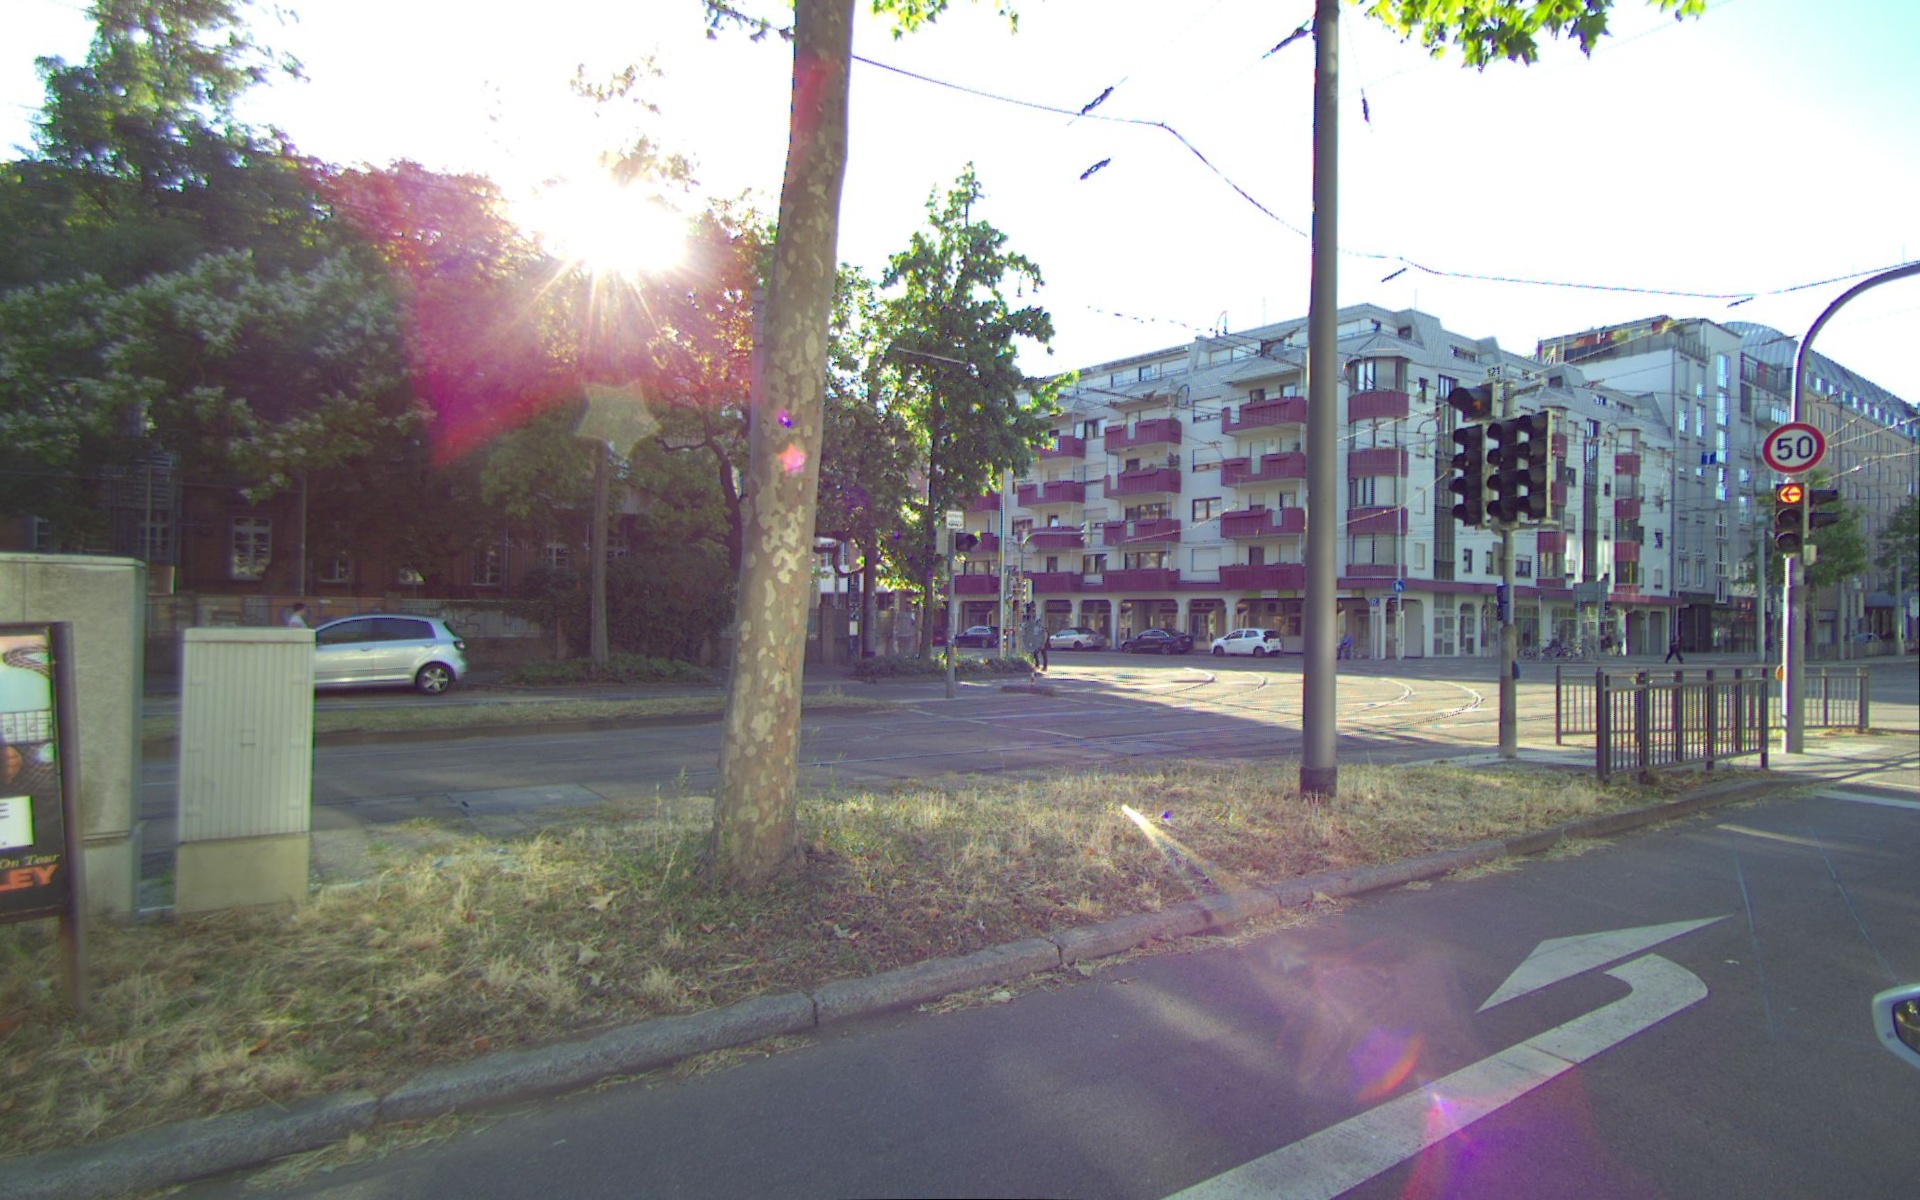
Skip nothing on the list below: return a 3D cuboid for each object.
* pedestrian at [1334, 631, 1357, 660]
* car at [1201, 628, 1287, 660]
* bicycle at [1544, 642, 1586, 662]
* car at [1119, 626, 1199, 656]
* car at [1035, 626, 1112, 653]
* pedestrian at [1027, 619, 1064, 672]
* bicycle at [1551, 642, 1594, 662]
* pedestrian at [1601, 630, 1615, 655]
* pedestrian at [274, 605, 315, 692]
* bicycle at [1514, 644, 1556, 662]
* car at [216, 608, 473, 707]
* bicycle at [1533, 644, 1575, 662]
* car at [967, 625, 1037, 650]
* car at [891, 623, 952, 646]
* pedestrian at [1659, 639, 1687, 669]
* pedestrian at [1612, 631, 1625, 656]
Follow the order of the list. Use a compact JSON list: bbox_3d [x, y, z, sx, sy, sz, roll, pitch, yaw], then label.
[{"bbox_3d":[19.146,2.269,49.881,0.848,1.402,0.831,-1,-2,45],"label":"pedestrian"},{"bbox_3d":[14.891,2.261,52.761,1.986,1.576,3.950,2,-2,-42],"label":"car"},{"bbox_3d":[31.424,2.687,52.200,0.548,0.998,1.830,1,-1,-36],"label":"bicycle"},{"bbox_3d":[11.162,2.288,56.605,1.986,1.576,4.072,2,-2,-42],"label":"car"},{"bbox_3d":[6.888,2.373,61.192,1.986,1.576,4.527,2,-2,-42],"label":"car"},{"bbox_3d":[2.942,1.560,34.561,1.010,1.775,0.728,1,-1,-38],"label":"pedestrian"},{"bbox_3d":[31.980,2.687,52.450,0.548,0.998,1.830,1,-1,-36],"label":"bicycle"},{"bbox_3d":[40.372,2.656,62.574,0.582,1.514,0.530,1,-1,-38],"label":"pedestrian"},{"bbox_3d":[-13.332,0.953,20.132,0.626,1.687,0.563,1,1,-37],"label":"pedestrian"},{"bbox_3d":[29.493,2.700,51.525,0.547,0.865,1.833,1,-1,-32],"label":"bicycle"},{"bbox_3d":[-11.970,1.053,19.610,4.062,1.641,2.065,2,1,-38],"label":"car"},{"bbox_3d":[30.411,2.695,51.446,0.547,0.865,1.833,1,-1,-32],"label":"bicycle"},{"bbox_3d":[2.722,2.439,66.231,1.986,1.576,4.527,2,-2,-42],"label":"car"},{"bbox_3d":[-2.810,2.474,72.202,1.986,1.576,4.527,2,-2,-42],"label":"car"},{"bbox_3d":[37.927,2.856,53.442,0.681,1.564,1.049,1,-1,-4],"label":"pedestrian"},{"bbox_3d":[40.729,2.665,62.124,0.582,1.514,0.530,1,-1,-38],"label":"pedestrian"}]
